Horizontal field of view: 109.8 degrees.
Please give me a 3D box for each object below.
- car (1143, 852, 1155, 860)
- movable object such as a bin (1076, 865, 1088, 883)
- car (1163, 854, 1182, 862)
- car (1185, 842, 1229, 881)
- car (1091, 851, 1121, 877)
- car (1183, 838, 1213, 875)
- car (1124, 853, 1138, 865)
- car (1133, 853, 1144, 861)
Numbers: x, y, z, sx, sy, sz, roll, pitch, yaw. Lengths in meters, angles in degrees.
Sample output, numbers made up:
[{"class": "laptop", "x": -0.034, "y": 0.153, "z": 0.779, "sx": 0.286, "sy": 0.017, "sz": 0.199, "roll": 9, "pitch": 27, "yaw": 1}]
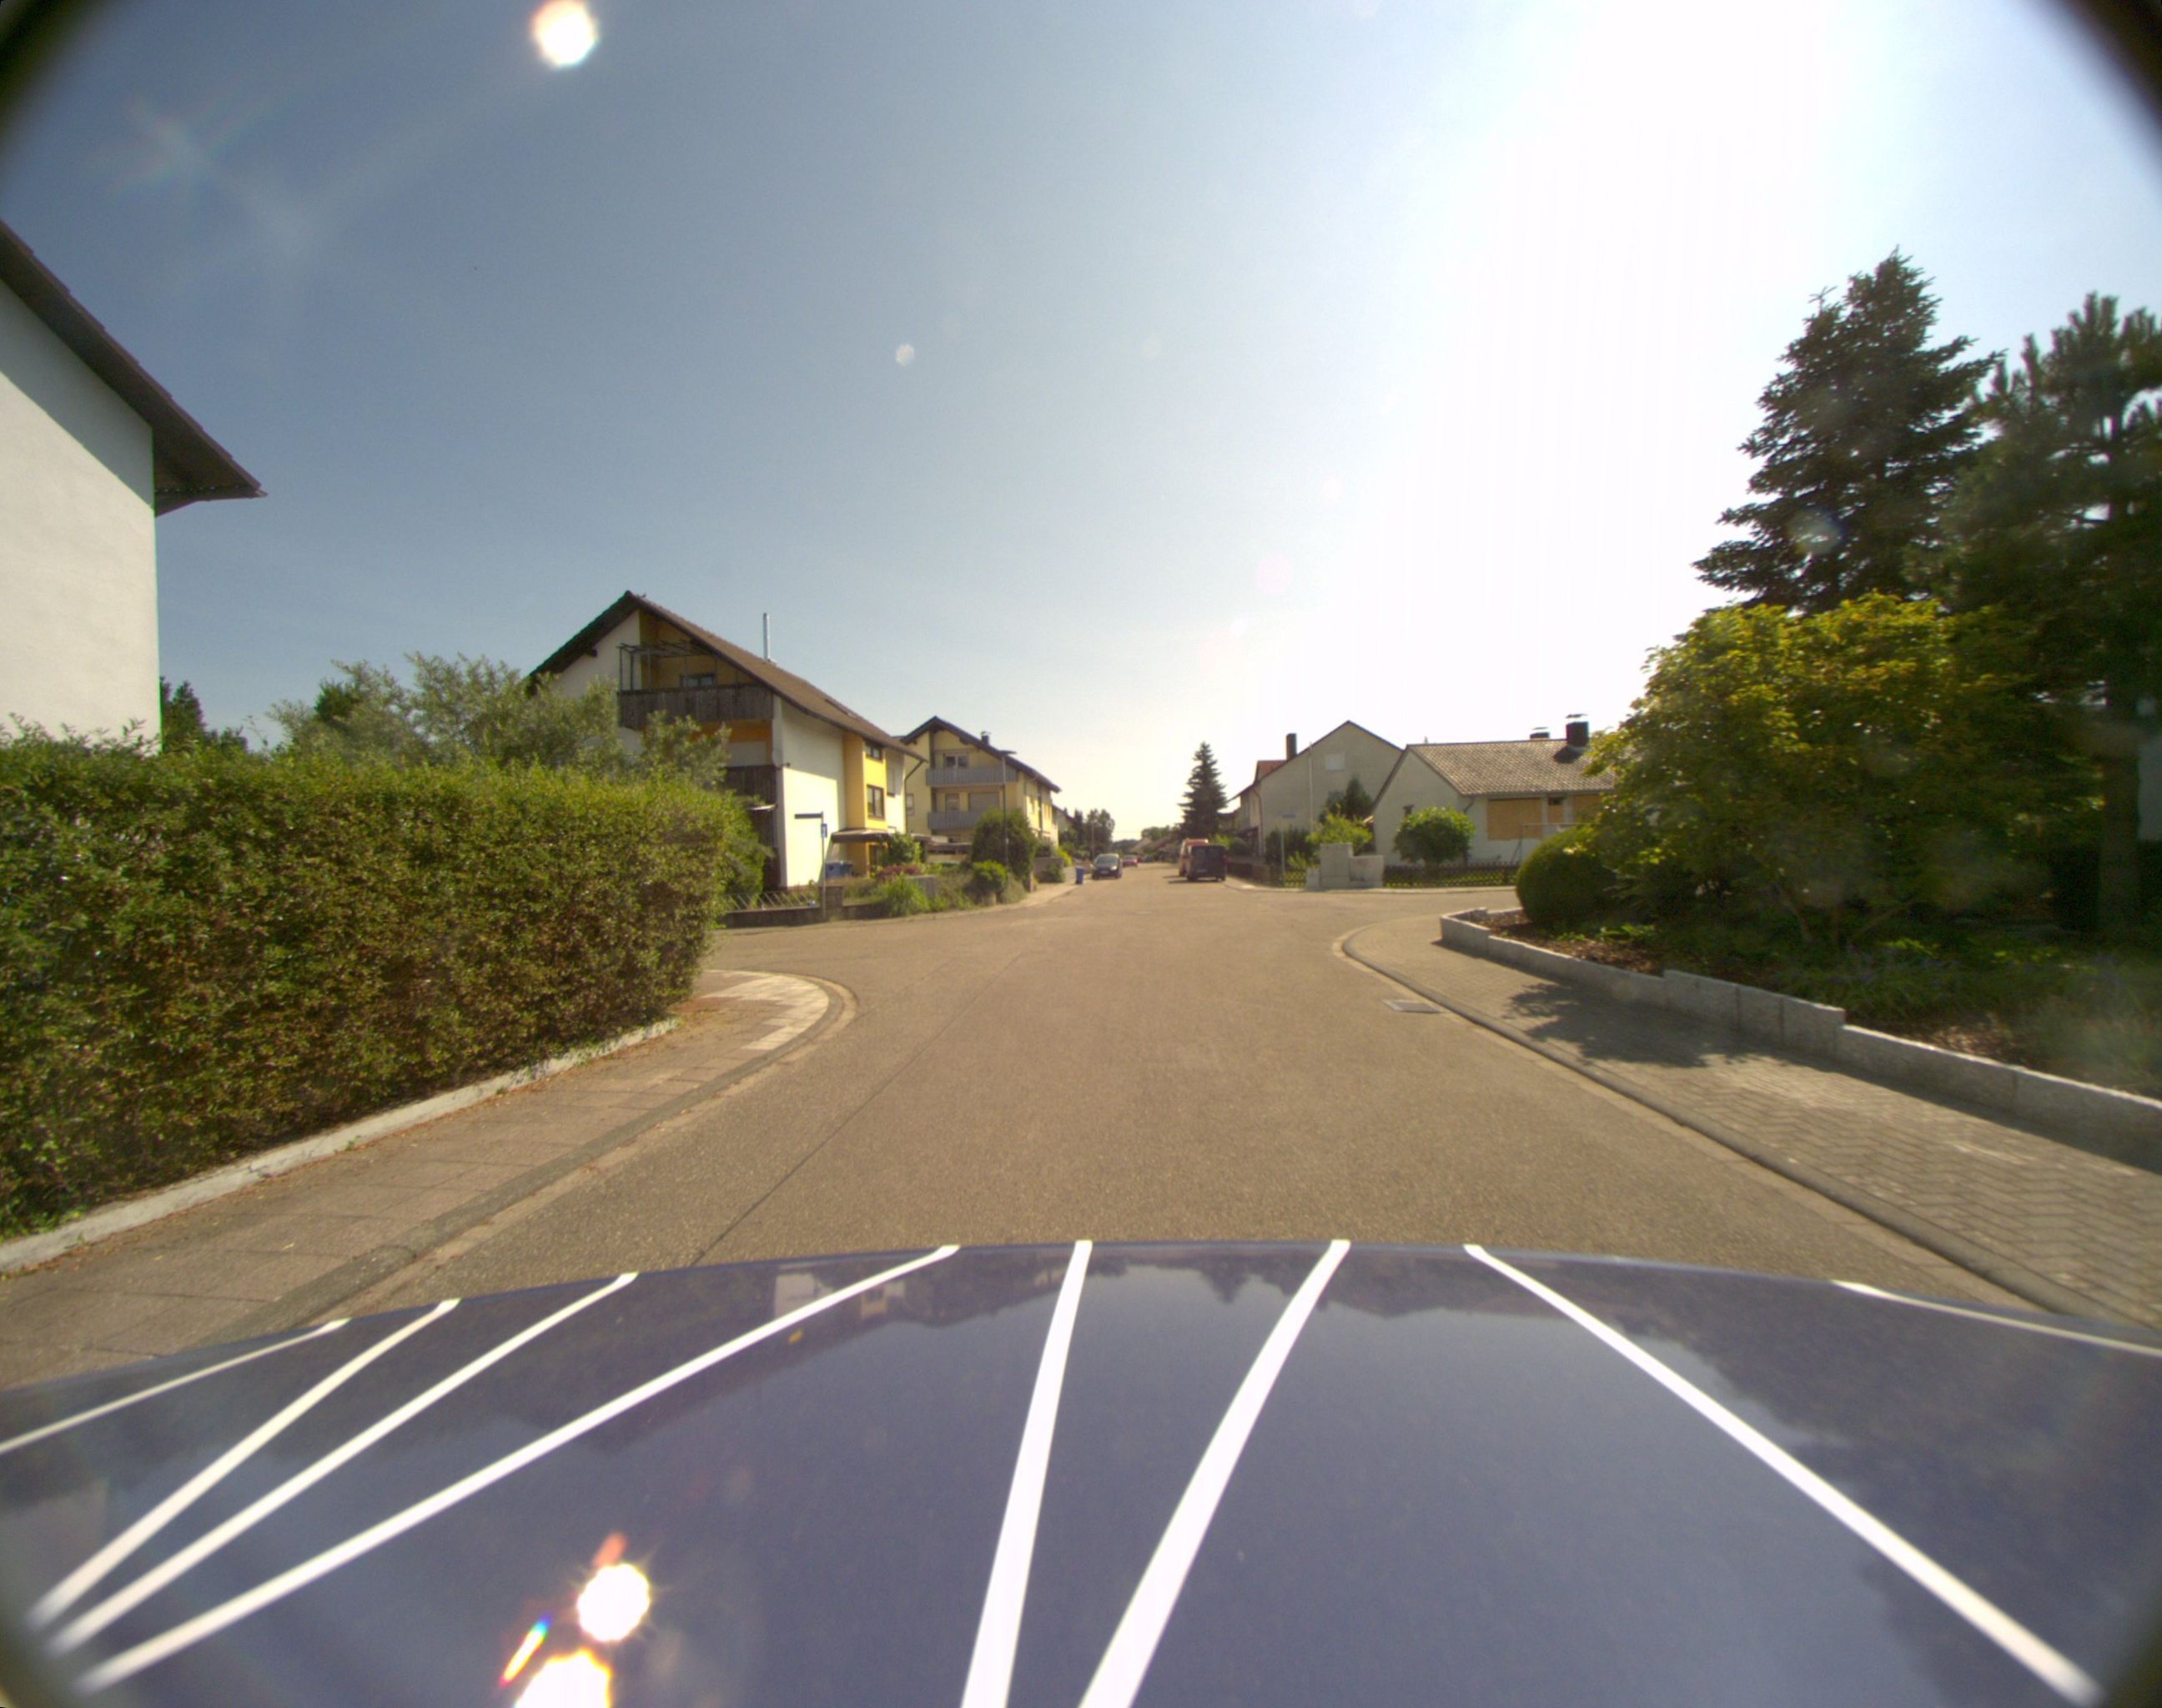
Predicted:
[{"class": "car", "x": 12.902, "y": 0.440, "z": 144.182, "sx": 1.709, "sy": 1.332, "sz": 4.000, "roll": -3, "pitch": -1, "yaw": -3}, {"class": "movable object such as a bin", "x": 0.037, "y": 1.086, "z": 41.748, "sx": 0.584, "sy": 0.911, "sz": 0.598, "roll": -3, "pitch": 1, "yaw": 4}, {"class": "car", "x": 18.448, "y": 0.758, "z": 153.268, "sx": 3.413, "sy": 1.521, "sz": 1.638, "roll": -2, "pitch": 0, "yaw": -2}, {"class": "car", "x": 6.749, "y": 0.390, "z": 41.050, "sx": 1.869, "sy": 1.927, "sz": 4.205, "roll": -3, "pitch": 0, "yaw": 4}, {"class": "car", "x": 1.750, "y": 0.678, "z": 51.258, "sx": 1.631, "sy": 1.616, "sz": 4.002, "roll": -3, "pitch": 0, "yaw": 6}, {"class": "car", "x": 7.682, "y": 0.153, "z": 50.362, "sx": 1.554, "sy": 2.310, "sz": 4.205, "roll": -3, "pitch": 0, "yaw": 4}, {"class": "car", "x": 6.141, "y": 0.627, "z": 93.294, "sx": 1.517, "sy": 1.398, "sz": 3.678, "roll": -3, "pitch": 0, "yaw": 2}, {"class": "car", "x": 11.826, "y": 0.658, "z": 156.910, "sx": 1.709, "sy": 1.332, "sz": 4.000, "roll": -3, "pitch": -1, "yaw": -3}]
